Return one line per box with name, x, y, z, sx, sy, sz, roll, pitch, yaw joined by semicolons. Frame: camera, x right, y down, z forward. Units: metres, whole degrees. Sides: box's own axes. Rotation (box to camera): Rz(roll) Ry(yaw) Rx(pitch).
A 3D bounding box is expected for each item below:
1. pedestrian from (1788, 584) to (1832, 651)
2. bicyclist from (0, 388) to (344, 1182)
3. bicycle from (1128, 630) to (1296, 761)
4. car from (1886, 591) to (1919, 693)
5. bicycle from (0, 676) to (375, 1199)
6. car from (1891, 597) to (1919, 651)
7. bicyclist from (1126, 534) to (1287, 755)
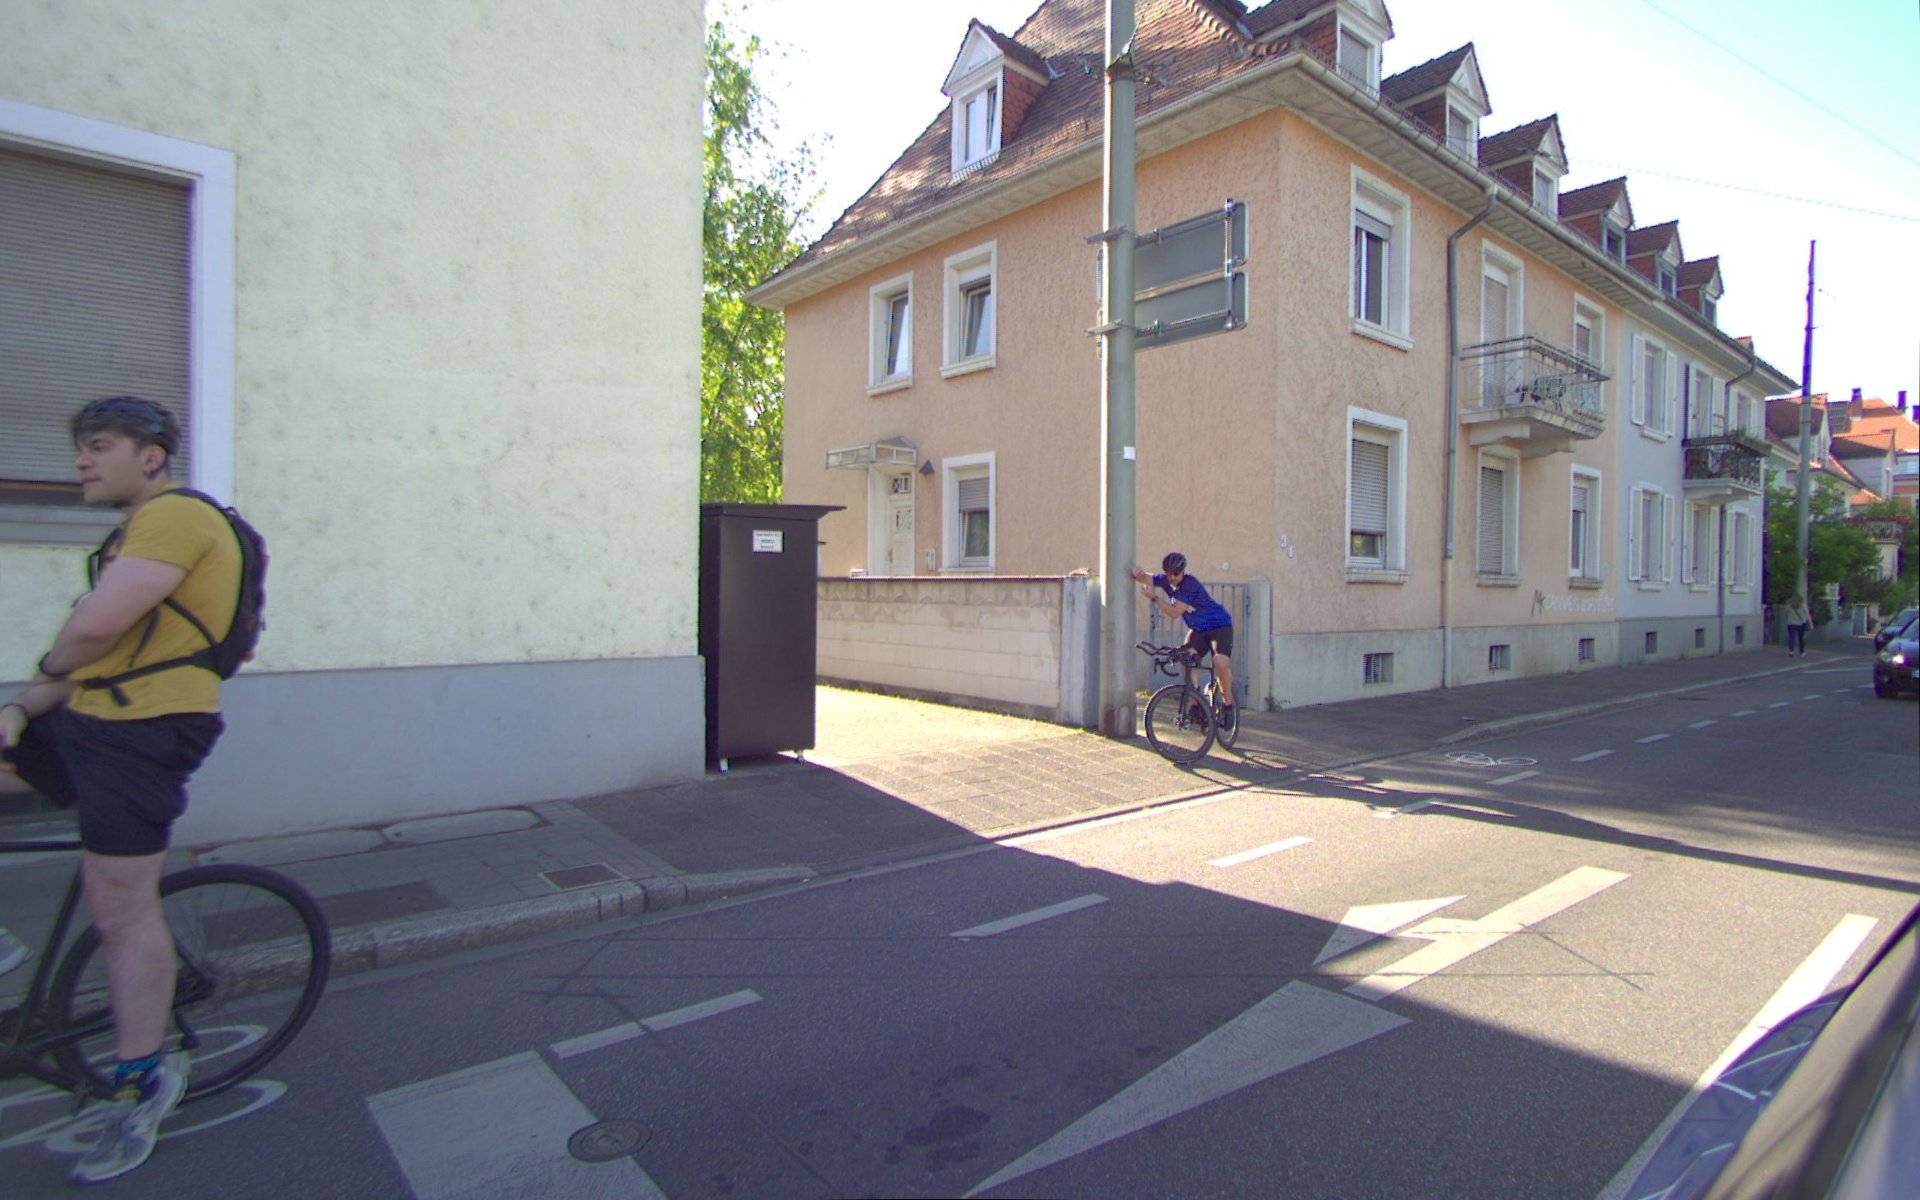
pedestrian;21.713;0.432;25.857;1.079;1.682;0.694;0;0;-41
bicyclist;-2.300;0.423;2.704;1.018;1.840;0.653;0;1;-41
bicycle;2.318;0.819;9.213;1.669;1.003;0.572;0;4;-41
car;16.402;0.651;16.288;4.030;1.541;1.761;0;1;-41
bicycle;-2.476;0.845;2.539;1.669;1.180;0.572;0;1;-41
car;26.700;0.630;27.346;3.796;1.382;1.648;0;1;-38
bicyclist;2.285;0.362;9.438;0.831;1.887;1.076;0;4;-40
